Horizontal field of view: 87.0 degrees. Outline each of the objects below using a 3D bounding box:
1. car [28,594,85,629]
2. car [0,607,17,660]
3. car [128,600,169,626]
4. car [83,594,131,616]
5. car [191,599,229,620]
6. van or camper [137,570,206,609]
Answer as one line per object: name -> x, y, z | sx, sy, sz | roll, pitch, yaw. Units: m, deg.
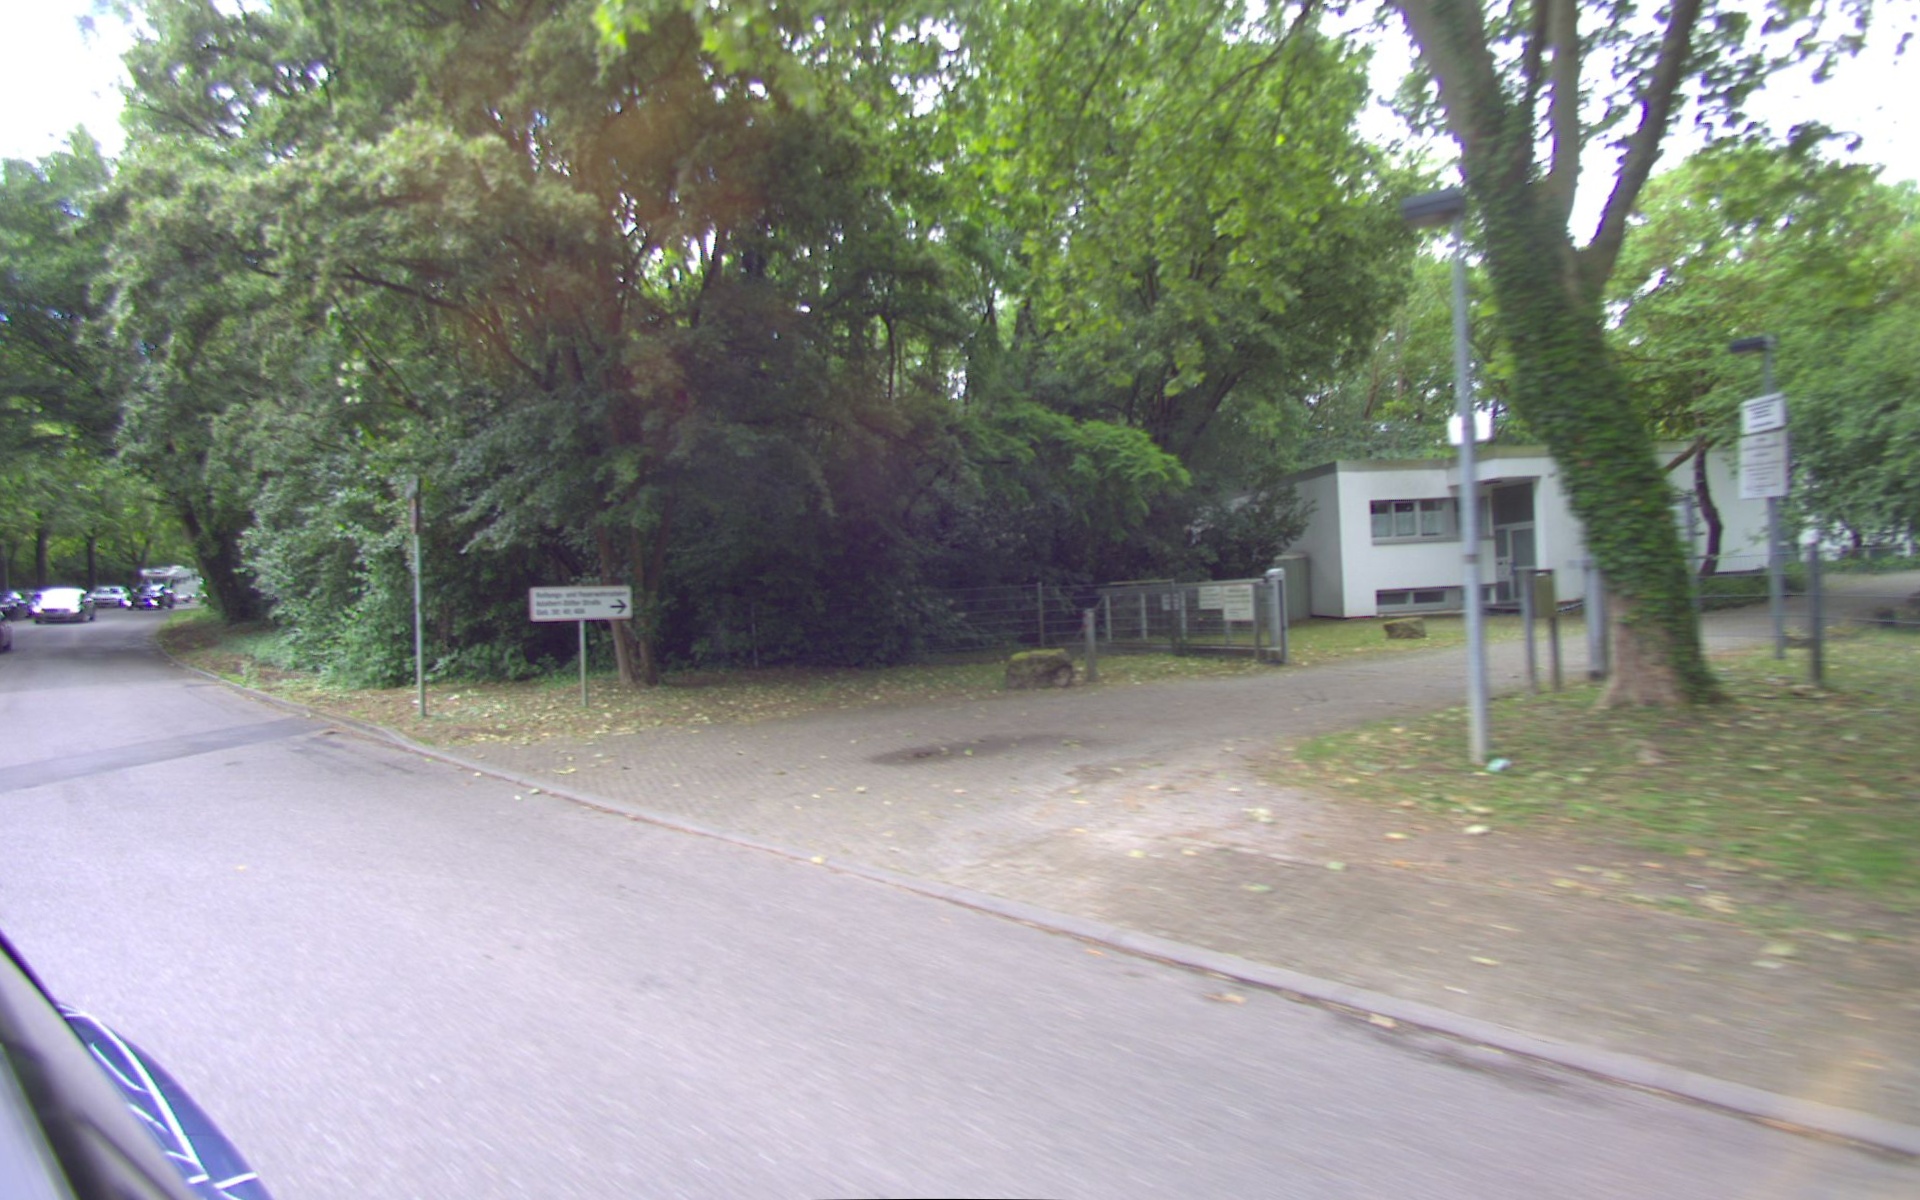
car -> -43.309, 0.511, 48.580 | 1.629, 1.580, 4.055 | -2, 1, -36
car -> -29.417, 0.991, 29.852 | 4.676, 1.483, 1.932 | 0, 1, 42
car -> -53.159, 0.805, 66.318 | 1.740, 1.580, 4.056 | -2, 1, -34
car -> -59.686, 0.326, 70.853 | 1.665, 1.493, 4.120 | -2, 1, -28
car -> -61.191, 0.725, 82.627 | 1.739, 1.580, 4.059 | -2, 1, -27
van or camper -> -64.674, -0.877, 83.183 | 2.390, 3.002, 7.418 | -2, 1, -21
